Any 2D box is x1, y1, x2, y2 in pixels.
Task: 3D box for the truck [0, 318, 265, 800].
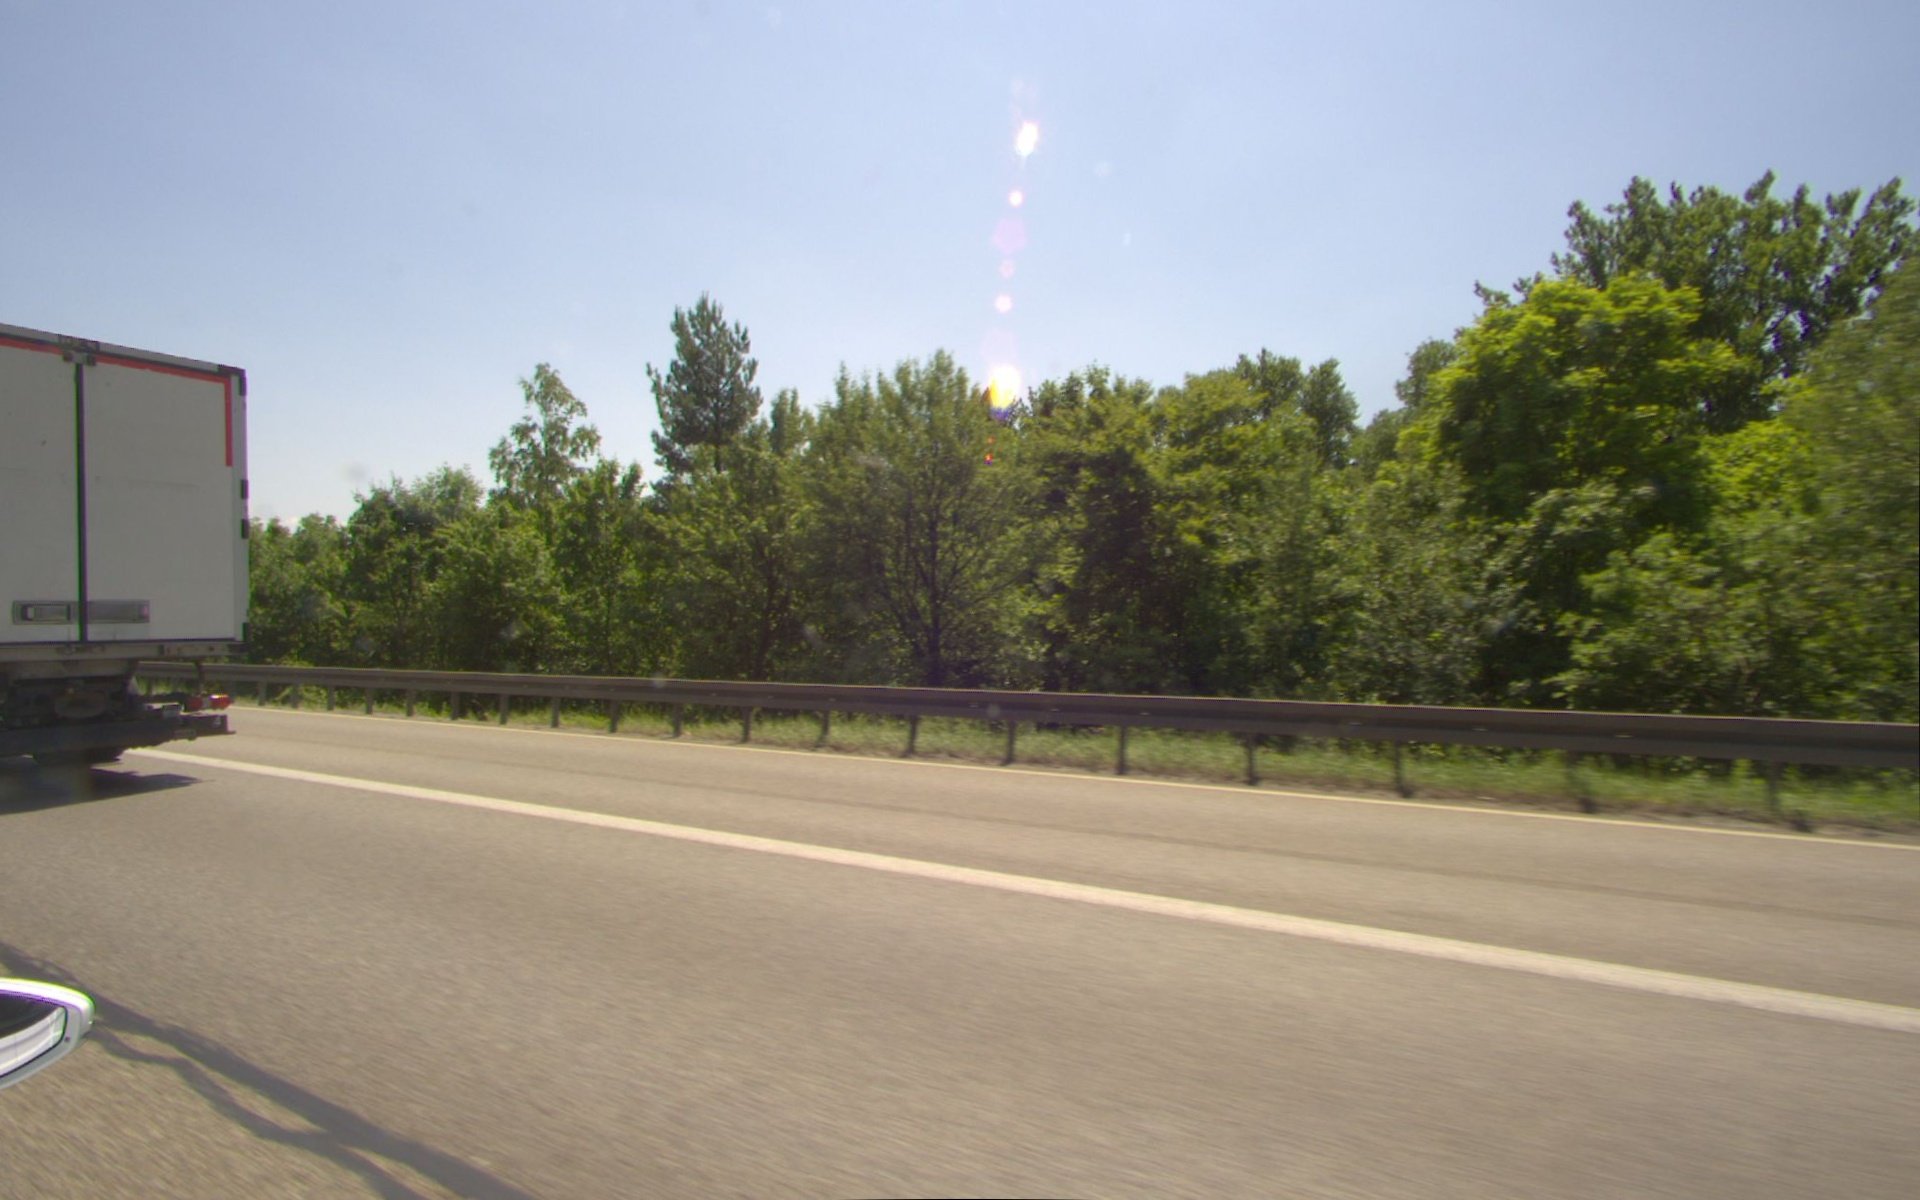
[{"bbox_3d":[-11.628,-0.285,11.181,9.637,3.927,2.683,-1,0,32],"label":"truck"}]
